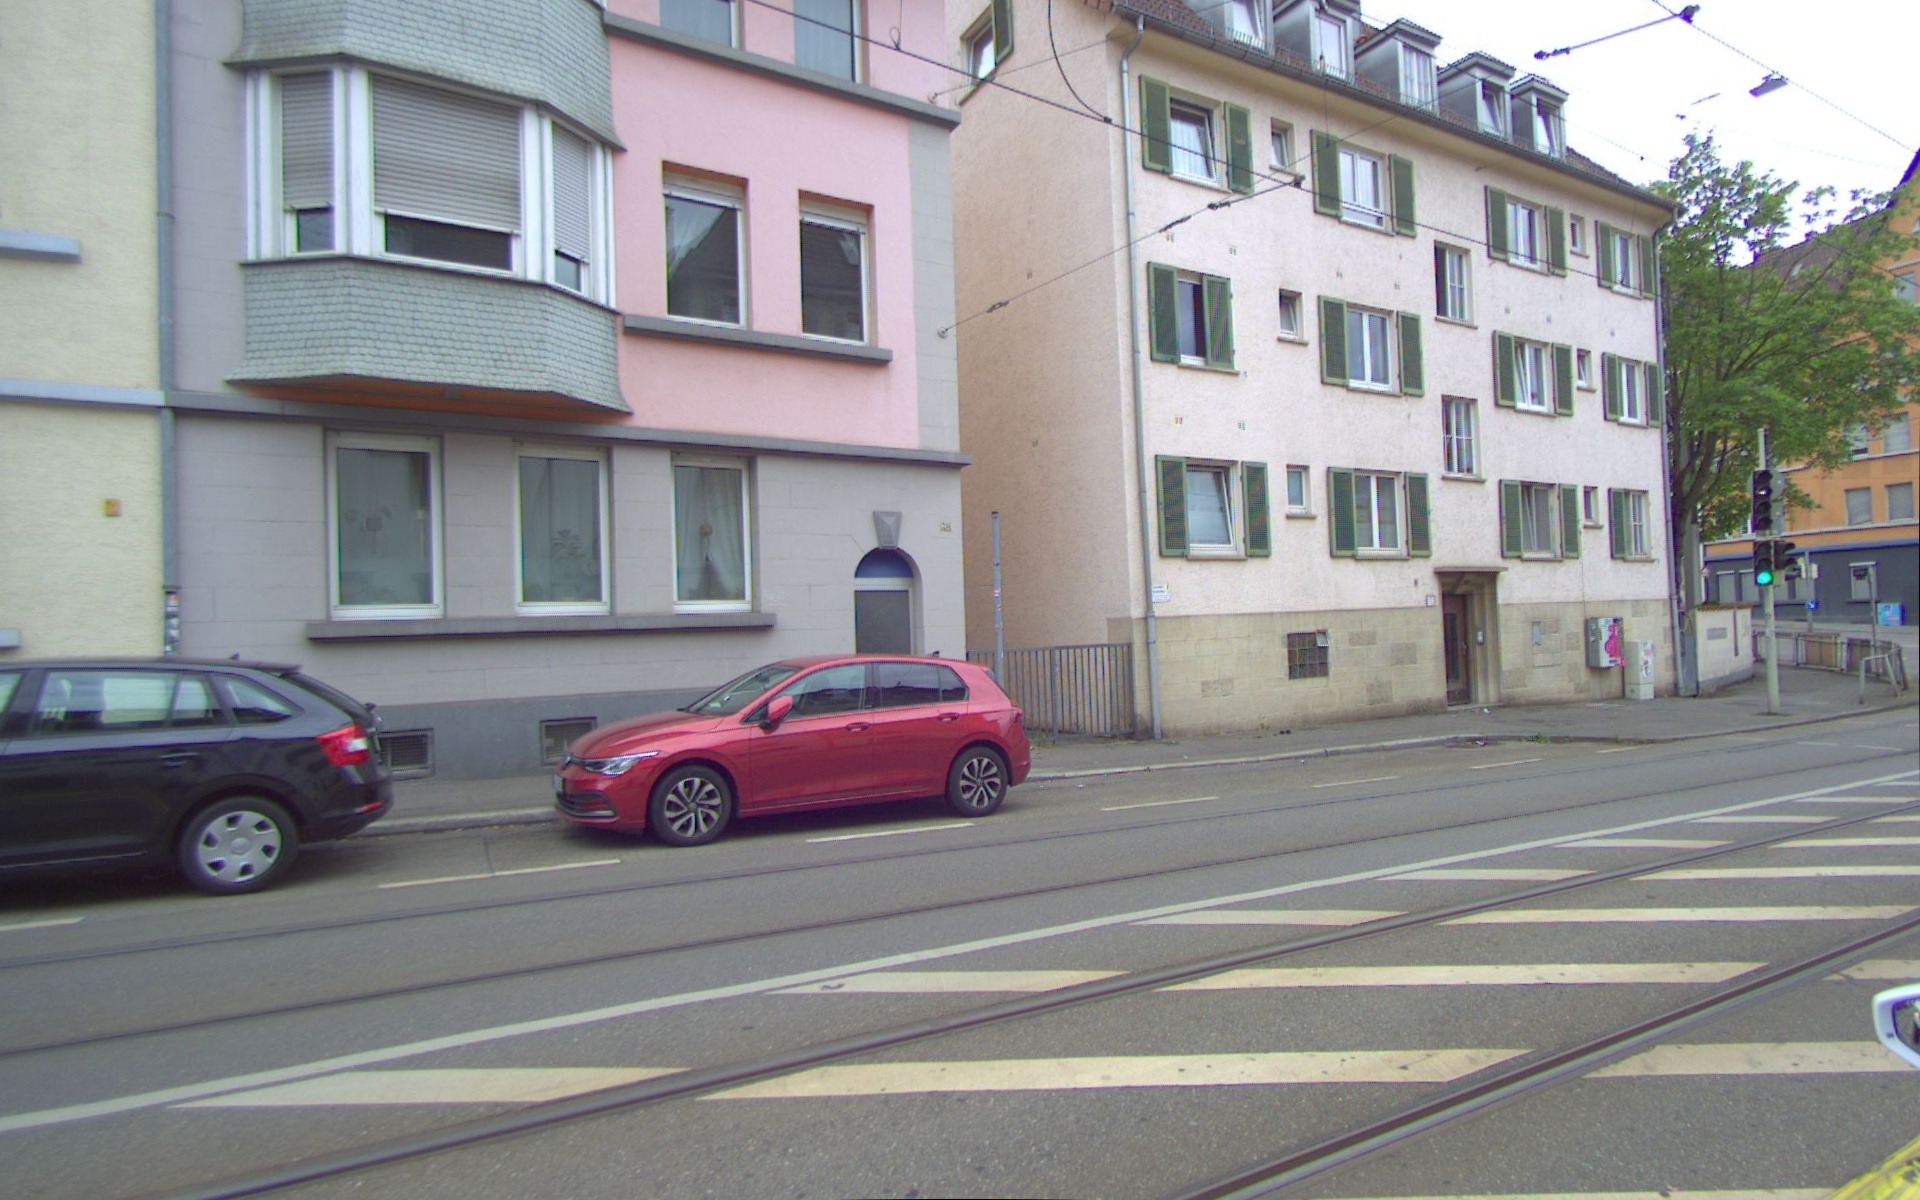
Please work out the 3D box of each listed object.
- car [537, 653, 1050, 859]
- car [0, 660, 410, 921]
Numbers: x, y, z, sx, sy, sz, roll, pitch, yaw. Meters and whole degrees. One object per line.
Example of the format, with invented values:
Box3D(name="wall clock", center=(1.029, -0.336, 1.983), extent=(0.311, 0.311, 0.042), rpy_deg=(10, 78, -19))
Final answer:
Box3D(name="car", center=(-1.427, 1.232, 9.053), extent=(4.211, 1.457, 1.777), rpy_deg=(2, -4, -30))
Box3D(name="car", center=(-5.868, 1.117, 6.301), extent=(4.192, 1.429, 1.777), rpy_deg=(2, -4, -30))
